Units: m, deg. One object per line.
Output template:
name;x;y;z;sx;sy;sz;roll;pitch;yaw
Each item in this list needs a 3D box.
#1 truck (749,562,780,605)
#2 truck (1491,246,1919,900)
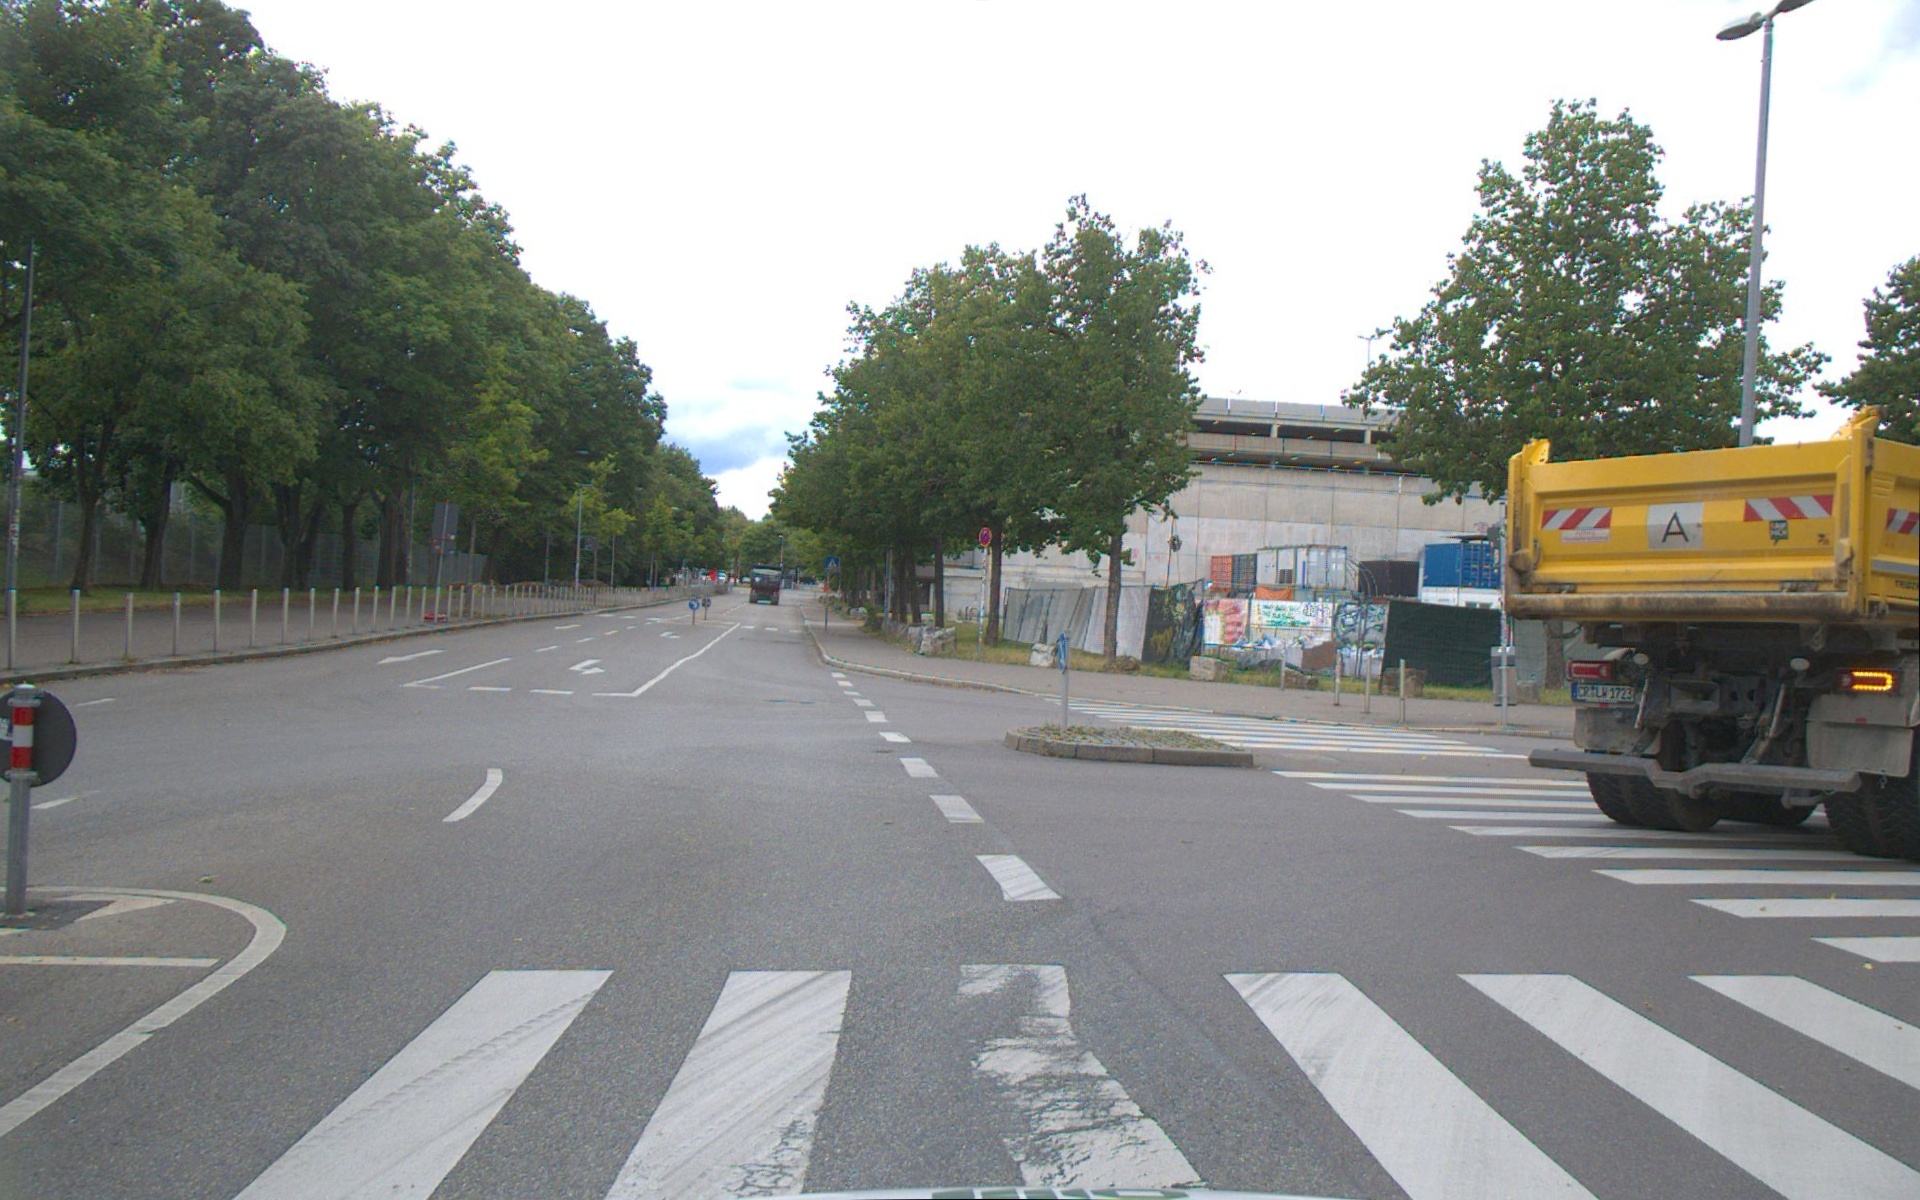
truck;-16.807;-1.388;142.286;2.622;3.621;7.911;0;0;-7
truck;7.765;-0.097;12.916;7.790;3.763;2.733;2;0;-36
